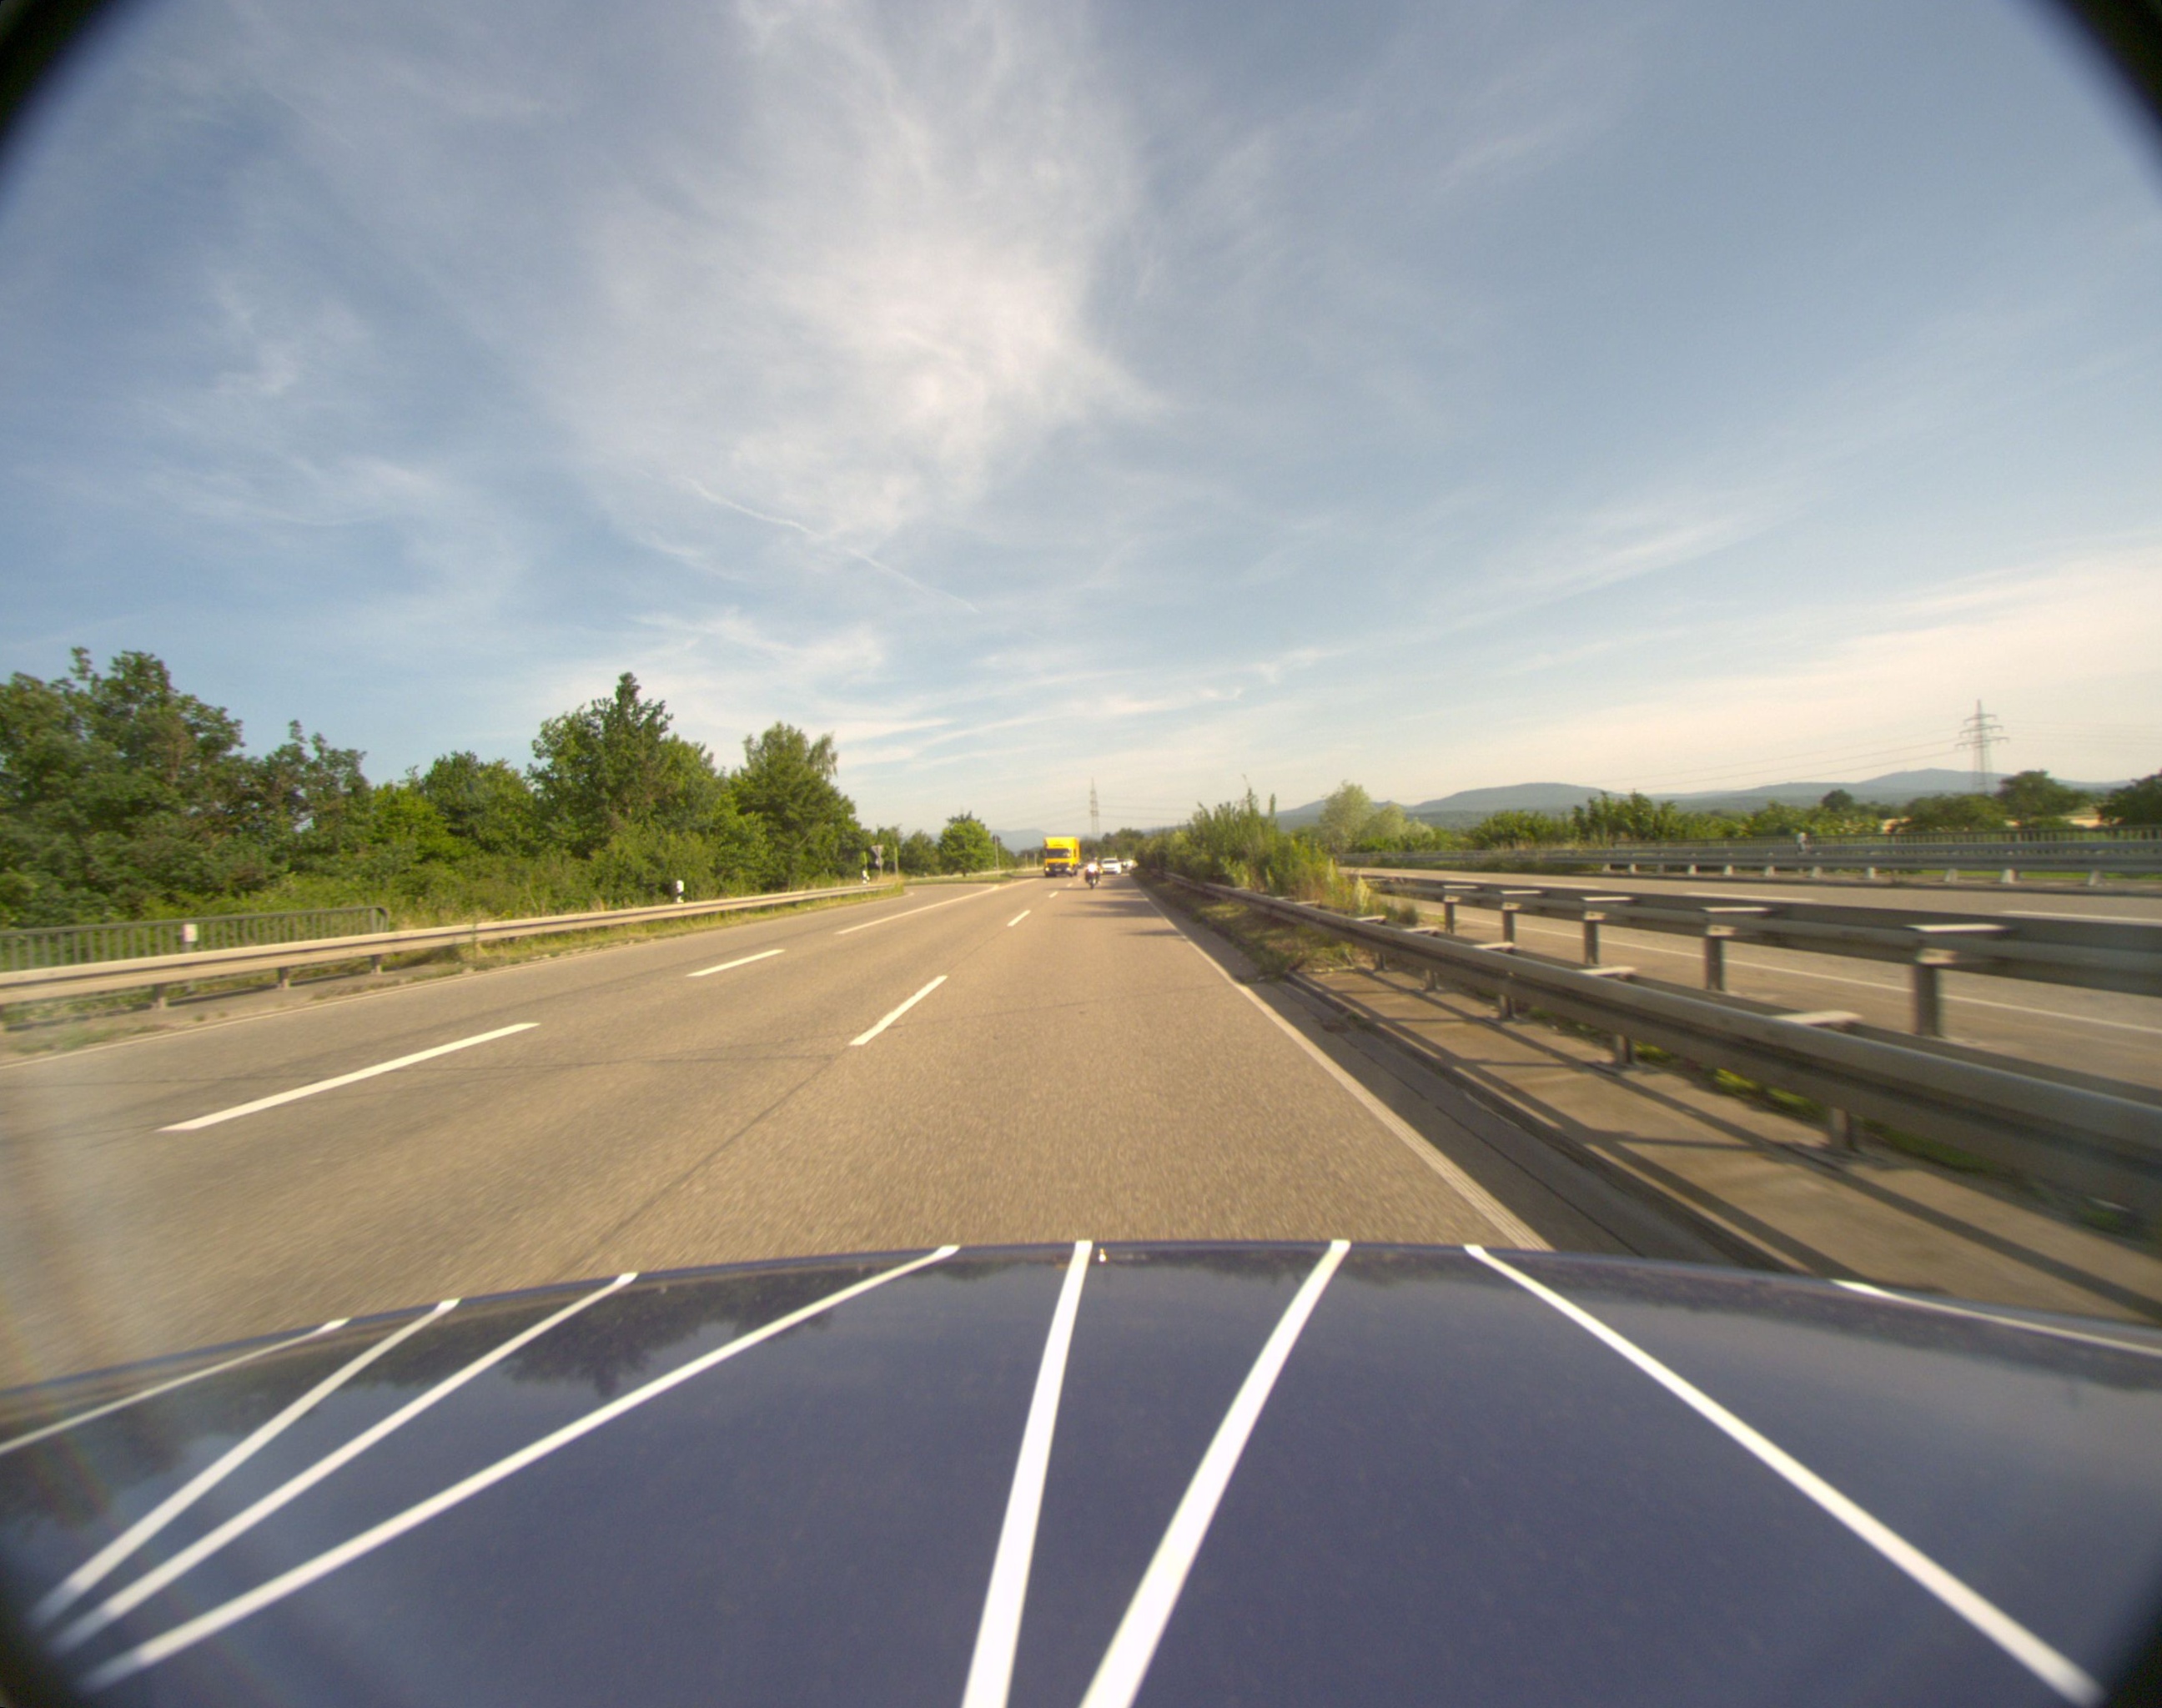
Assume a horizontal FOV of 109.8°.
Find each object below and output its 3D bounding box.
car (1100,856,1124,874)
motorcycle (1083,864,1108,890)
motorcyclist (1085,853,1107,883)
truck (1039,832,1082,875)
[{"bbox_3d":[2.807,0.983,68.262,1.868,1.454,4.086,-2,-1,5],"label":"car"},{"bbox_3d":[0.707,1.074,36.459,0.936,1.131,2.583,-2,1,6],"label":"motorcycle"},{"bbox_3d":[0.714,0.663,36.467,0.936,1.344,1.143,-2,1,6],"label":"motorcyclist"},{"bbox_3d":[-1.635,0.007,66.246,2.785,3.297,10.492,-2,0,3],"label":"truck"}]
